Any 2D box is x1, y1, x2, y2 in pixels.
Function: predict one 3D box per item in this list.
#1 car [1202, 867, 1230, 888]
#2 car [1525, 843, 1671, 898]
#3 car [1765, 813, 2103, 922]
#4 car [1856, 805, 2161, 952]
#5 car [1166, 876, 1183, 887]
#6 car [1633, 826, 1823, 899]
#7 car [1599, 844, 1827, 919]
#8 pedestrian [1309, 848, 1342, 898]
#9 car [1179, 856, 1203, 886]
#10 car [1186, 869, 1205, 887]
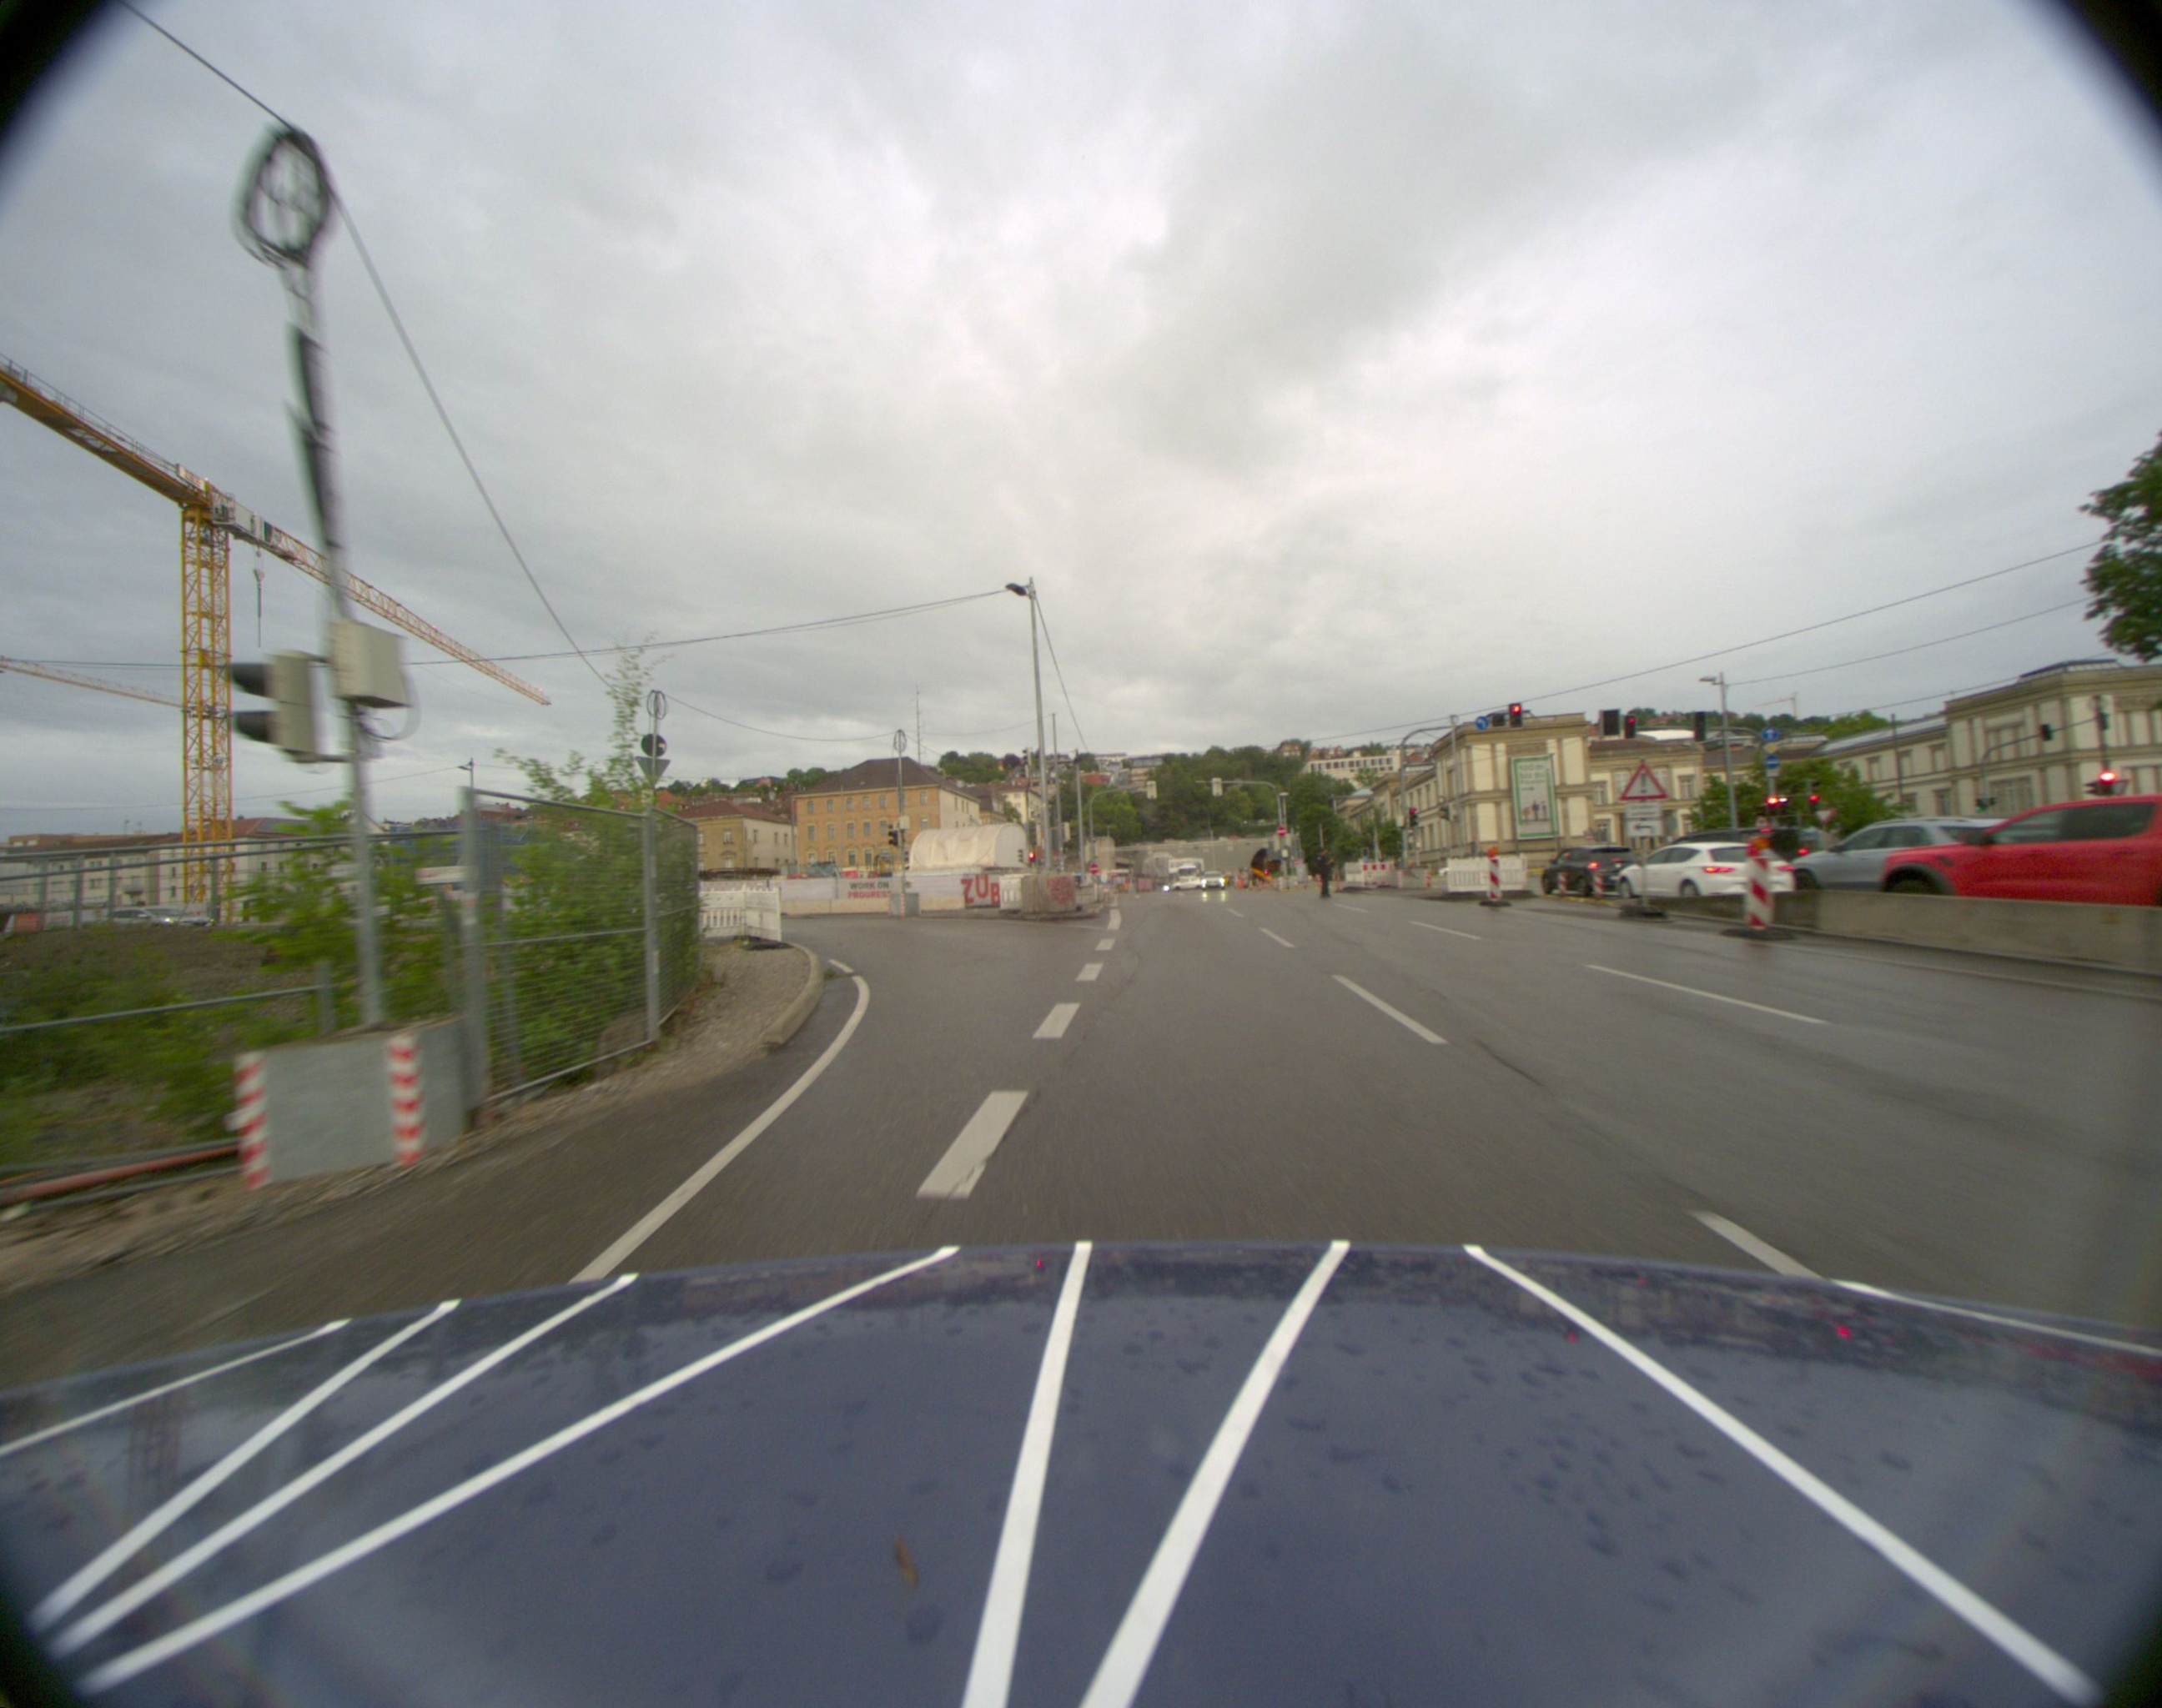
[{"bbox_3d":[11.156,1.940,62.961,1.997,1.561,4.002,-2,0,7],"label":"car"},{"bbox_3d":[15.439,0.468,23.028,1.997,1.462,4.349,-2,0,9],"label":"car"},{"bbox_3d":[16.397,0.243,15.092,1.997,1.784,4.618,-2,0,9],"label":"car"},{"bbox_3d":[12.572,0.231,8.890,1.997,1.558,5.385,-2,0,8],"label":"car"},{"bbox_3d":[13.849,4.089,112.269,1.997,1.462,4.350,-2,0,12],"label":"car"},{"bbox_3d":[18.128,0.226,21.634,1.997,1.784,4.618,-2,0,9],"label":"car"},{"bbox_3d":[14.227,0.564,17.540,1.997,1.462,4.564,-2,0,9],"label":"car"},{"bbox_3d":[8.587,0.647,26.679,0.784,1.700,0.761,-2,0,-13],"label":"pedestrian"},{"bbox_3d":[15.452,2.314,106.176,2.834,3.990,8.732,-2,0,11],"label":"car"},{"bbox_3d":[13.243,2.758,87.979,1.997,2.027,4.002,-2,0,7],"label":"car"}]
